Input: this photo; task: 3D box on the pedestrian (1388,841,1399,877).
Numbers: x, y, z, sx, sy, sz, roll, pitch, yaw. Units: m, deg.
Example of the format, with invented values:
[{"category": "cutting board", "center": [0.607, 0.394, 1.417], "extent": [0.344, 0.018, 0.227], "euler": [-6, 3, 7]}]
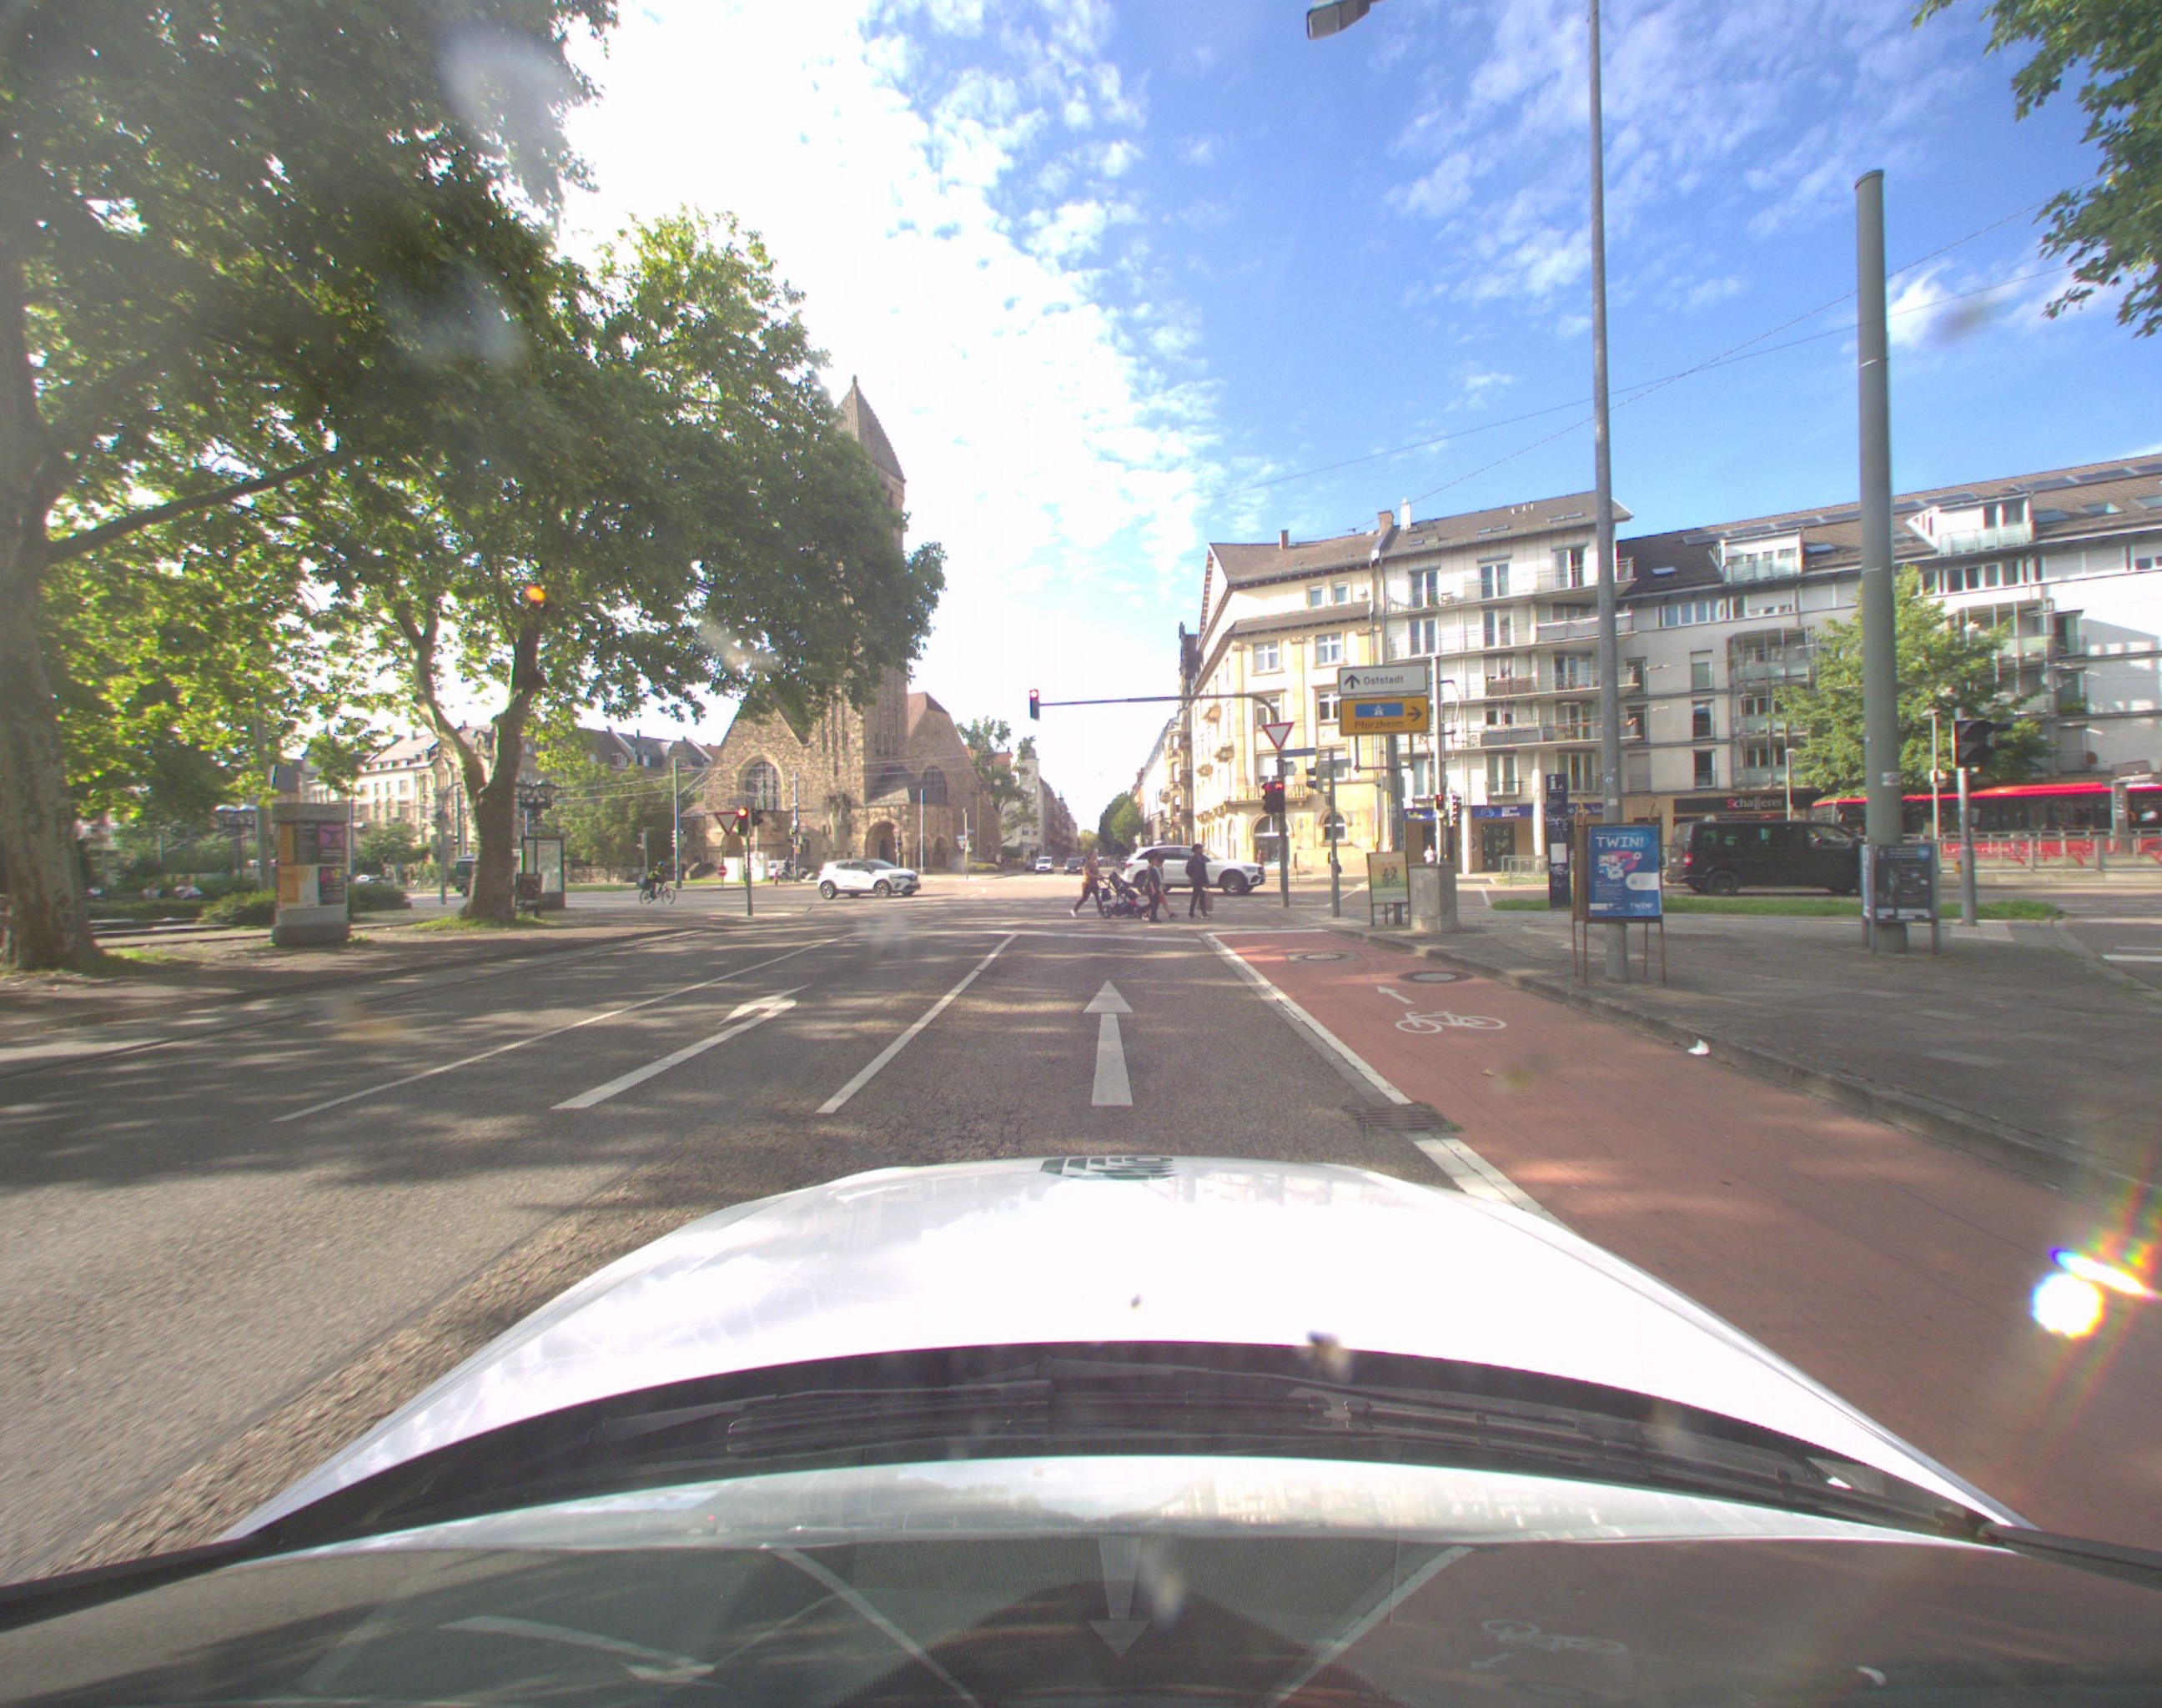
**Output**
[{"category": "pedestrian", "center": [18.099, 0.279, 47.178], "extent": [0.520, 2.093, 0.500], "euler": [1, -1, 28]}]

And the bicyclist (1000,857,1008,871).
[{"category": "bicyclist", "center": [-8.028, 1.031, 84.708], "extent": [0.680, 1.367, 0.780], "euler": [-1, 0, 1]}]

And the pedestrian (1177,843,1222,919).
[{"category": "pedestrian", "center": [2.639, 0.586, 18.098], "extent": [0.774, 1.662, 0.783], "euler": [-1, 0, 24]}]

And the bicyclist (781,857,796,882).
[{"category": "bicyclist", "center": [-20.178, 1.071, 56.208], "extent": [0.717, 1.662, 0.724], "euler": [-2, 0, 43]}]

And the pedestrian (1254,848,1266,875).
[{"category": "pedestrian", "center": [11.047, 0.459, 50.273], "extent": [0.557, 1.623, 0.604], "euler": [-1, 0, 23]}]

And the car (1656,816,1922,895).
[{"category": "car", "center": [18.167, 0.078, 21.229], "extent": [4.802, 1.871, 2.042], "euler": [-1, 0, 21]}]

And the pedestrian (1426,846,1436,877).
[{"category": "pedestrian", "center": [19.743, 0.410, 45.932], "extent": [0.491, 1.714, 0.530], "euler": [1, -1, 26]}]

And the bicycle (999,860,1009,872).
[{"category": "bicycle", "center": [-8.016, 1.279, 84.772], "extent": [0.688, 1.181, 1.919], "euler": [-1, 0, 2]}]

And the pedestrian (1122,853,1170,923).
[{"category": "pedestrian", "center": [1.392, 0.707, 17.271], "extent": [0.774, 1.432, 0.735], "euler": [-1, 0, 24]}]

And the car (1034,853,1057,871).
[{"category": "car", "center": [-3.580, 0.754, 82.834], "extent": [1.942, 1.750, 4.002], "euler": [-1, 0, 2]}]

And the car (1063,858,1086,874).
[{"category": "car", "center": [-0.548, 1.088, 73.650], "extent": [1.942, 1.372, 4.002], "euler": [-1, 0, 2]}]

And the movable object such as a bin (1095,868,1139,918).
[{"category": "movable object such as a bin", "center": [0.842, 0.887, 18.788], "extent": [0.830, 1.123, 0.579], "euler": [-1, 0, 25]}]

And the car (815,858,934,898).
[{"category": "car", "center": [-8.184, 0.949, 32.296], "extent": [4.211, 1.479, 1.908], "euler": [-1, 0, 21]}]

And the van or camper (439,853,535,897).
[{"category": "van or camper", "center": [-34.655, 1.228, 47.477], "extent": [5.402, 2.434, 2.197], "euler": [-1, 0, 26]}]

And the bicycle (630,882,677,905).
[{"category": "bicycle", "center": [-17.417, 1.613, 33.200], "extent": [1.707, 0.876, 0.709], "euler": [-1, 0, 20]}]

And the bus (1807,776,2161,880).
[{"category": "bus", "center": [35.947, -0.899, 30.894], "extent": [12.150, 3.548, 3.046], "euler": [-1, 0, 25]}]

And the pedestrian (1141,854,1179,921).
[{"category": "pedestrian", "center": [1.727, 0.719, 17.807], "extent": [0.649, 1.432, 0.501], "euler": [-1, 0, 24]}]

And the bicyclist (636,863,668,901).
[{"category": "bicyclist", "center": [-17.492, 1.124, 33.227], "extent": [0.874, 1.503, 0.719], "euler": [-1, 0, 20]}]

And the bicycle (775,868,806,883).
[{"category": "bicycle", "center": [-20.071, 1.474, 56.342], "extent": [0.630, 0.980, 1.937], "euler": [-1, 0, 42]}]

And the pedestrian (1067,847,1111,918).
[{"category": "pedestrian", "center": [0.187, 0.666, 19.154], "extent": [0.807, 1.629, 0.608], "euler": [-1, 0, 26]}]

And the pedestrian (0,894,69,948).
[{"category": "pedestrian", "center": [-20.772, 1.314, 16.009], "extent": [0.751, 0.979, 1.046], "euler": [-1, 0, 43]}]

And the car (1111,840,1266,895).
[{"category": "car", "center": [3.548, 0.459, 26.862], "extent": [4.665, 1.683, 2.027], "euler": [-1, 0, 21]}]

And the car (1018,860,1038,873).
[{"category": "car", "center": [-6.419, 1.539, 99.578], "extent": [1.986, 1.497, 4.002], "euler": [-1, 0, 2]}]

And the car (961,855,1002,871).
[{"category": "car", "center": [-11.000, 1.007, 90.031], "extent": [4.019, 1.596, 1.848], "euler": [-1, 0, -37]}]
